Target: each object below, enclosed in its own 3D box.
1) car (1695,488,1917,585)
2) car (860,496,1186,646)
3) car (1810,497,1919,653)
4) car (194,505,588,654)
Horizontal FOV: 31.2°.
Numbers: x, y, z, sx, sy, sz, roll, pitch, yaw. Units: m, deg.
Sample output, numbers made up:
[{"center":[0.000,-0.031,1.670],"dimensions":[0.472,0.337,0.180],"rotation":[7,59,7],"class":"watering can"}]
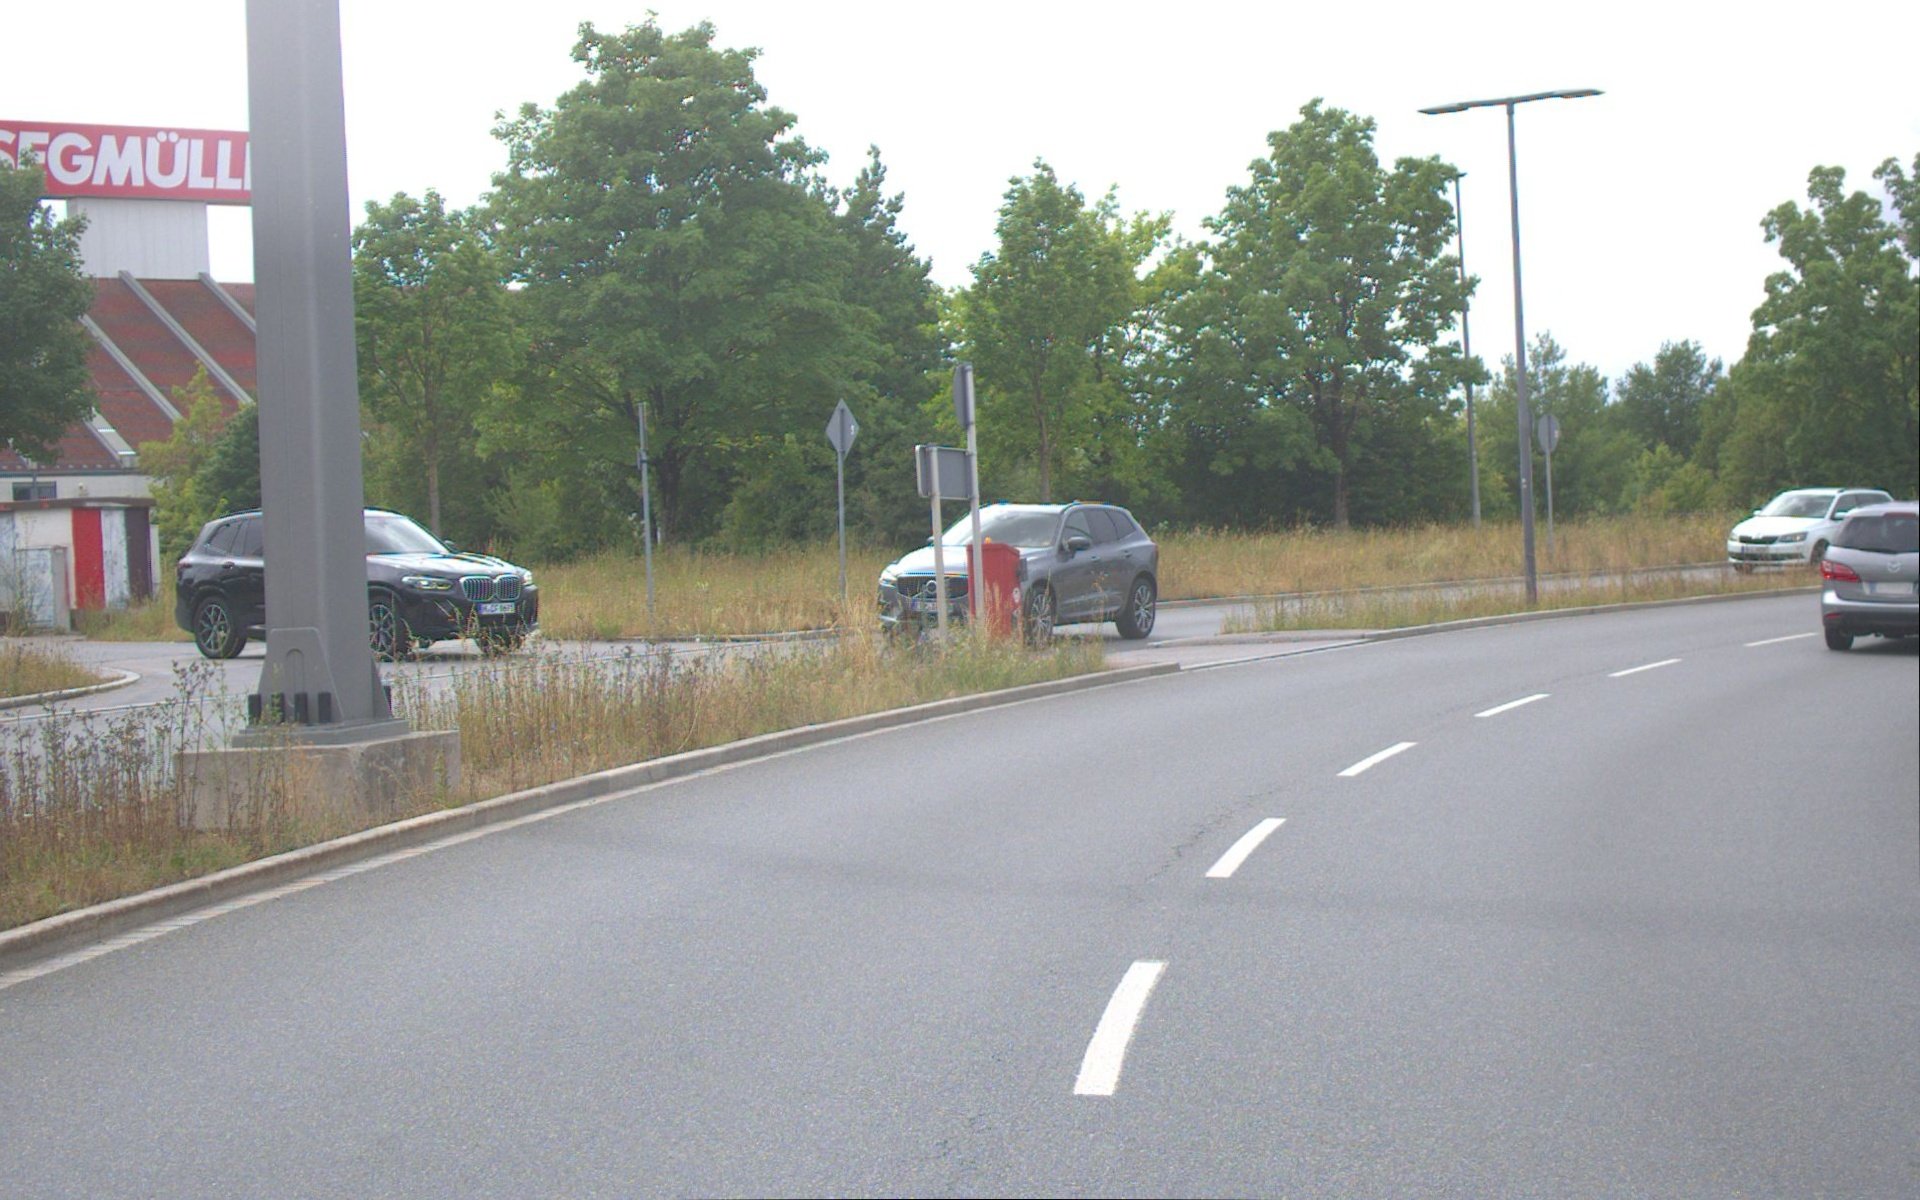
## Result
[{"center":[15.034,-1.141,61.003],"dimensions":[4.255,1.629,1.720],"rotation":[-2,1,-42],"class":"car"},{"center":[0.806,-0.375,40.133],"dimensions":[1.812,1.624,4.680],"rotation":[2,2,29],"class":"car"},{"center":[10.552,-0.302,37.408],"dimensions":[1.769,1.611,3.916],"rotation":[0,1,25],"class":"car"},{"center":[-6.322,-0.239,37.998],"dimensions":[4.250,1.544,1.870],"rotation":[0,1,37],"class":"car"}]
